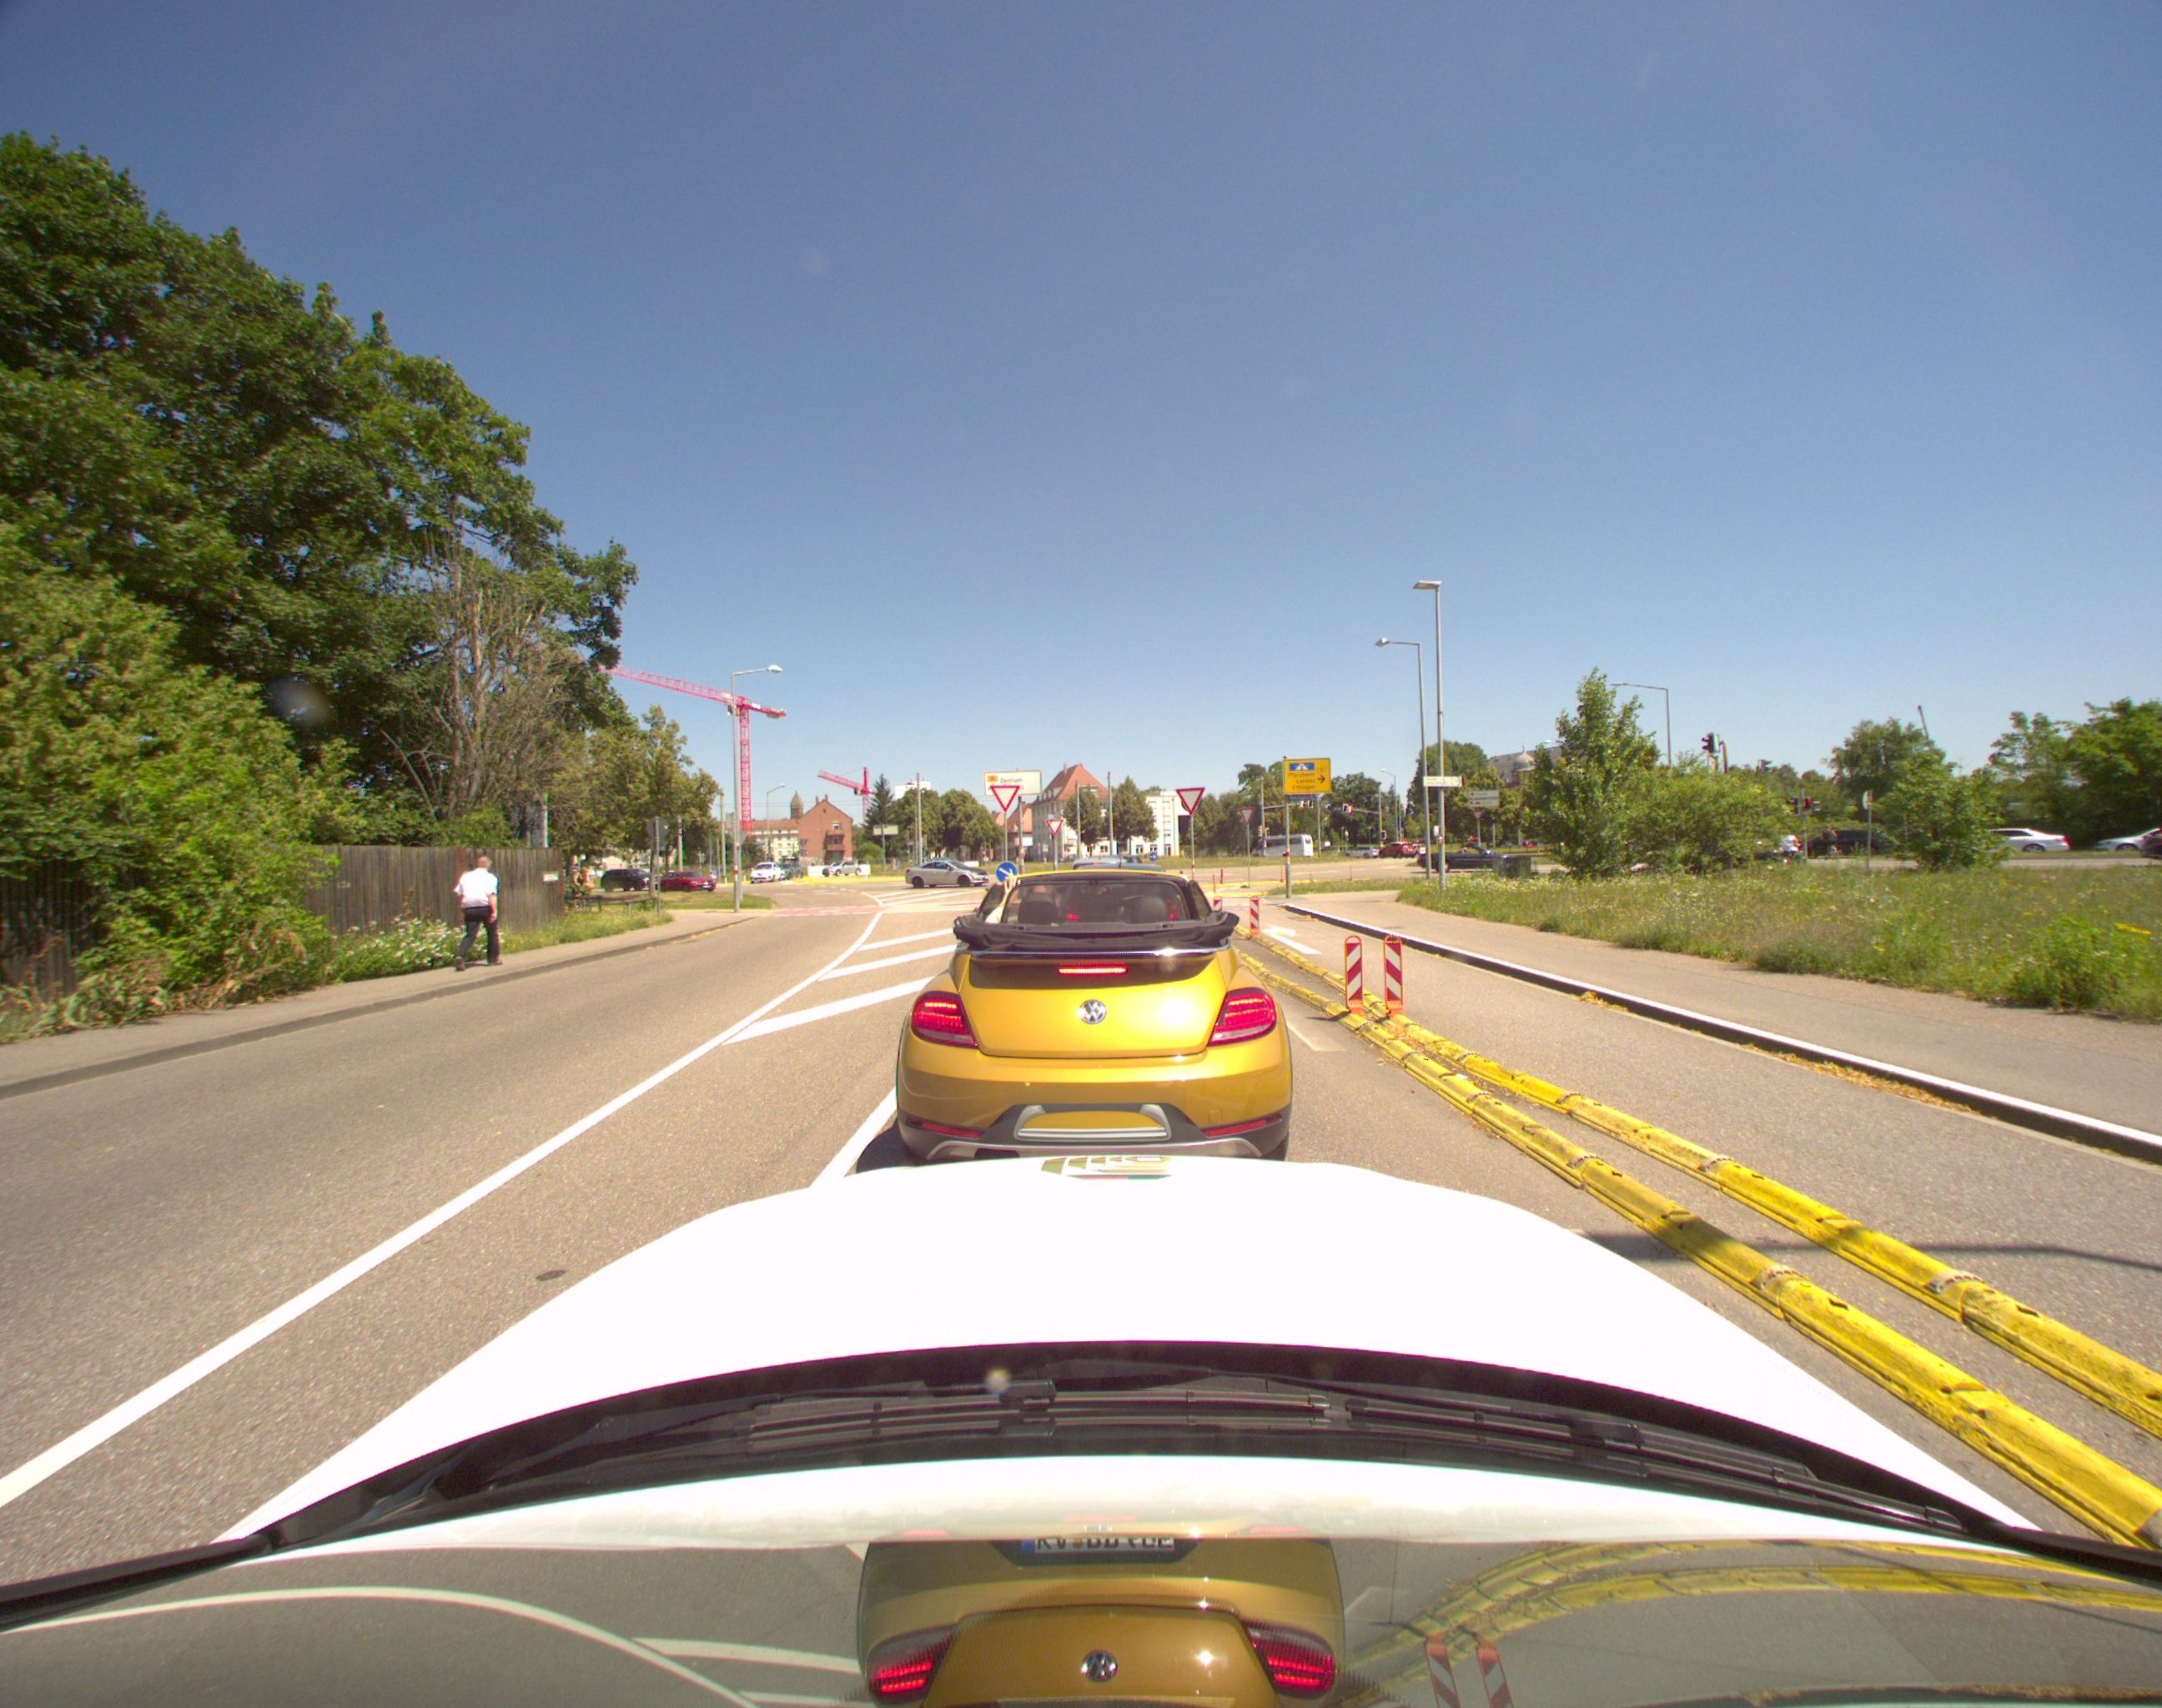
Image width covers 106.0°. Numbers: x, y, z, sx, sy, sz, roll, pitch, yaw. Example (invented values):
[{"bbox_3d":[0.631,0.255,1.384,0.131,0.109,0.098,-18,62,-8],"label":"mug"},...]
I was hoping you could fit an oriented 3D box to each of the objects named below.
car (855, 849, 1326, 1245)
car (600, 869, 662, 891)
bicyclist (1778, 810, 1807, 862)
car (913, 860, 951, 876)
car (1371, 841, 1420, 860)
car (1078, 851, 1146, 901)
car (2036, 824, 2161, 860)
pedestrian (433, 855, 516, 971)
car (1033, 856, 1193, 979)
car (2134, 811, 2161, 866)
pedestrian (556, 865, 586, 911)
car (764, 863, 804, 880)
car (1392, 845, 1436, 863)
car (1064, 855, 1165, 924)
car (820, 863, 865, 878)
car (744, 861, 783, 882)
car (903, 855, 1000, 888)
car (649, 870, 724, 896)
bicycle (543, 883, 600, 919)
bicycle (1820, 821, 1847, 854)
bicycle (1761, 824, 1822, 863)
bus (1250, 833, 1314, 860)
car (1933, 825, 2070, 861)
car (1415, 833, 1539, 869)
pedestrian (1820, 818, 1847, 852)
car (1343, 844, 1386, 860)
[{"bbox_3d":[0.098,0.744,5.192,1.758,1.481,4.259,0,-1,2],"label":"car"},{"bbox_3d":[-33.619,1.939,60.796,4.363,1.595,2.012,-1,-1,29],"label":"car"},{"bbox_3d":[25.761,-0.647,29.495,0.573,1.841,0.603,0,-1,-29],"label":"bicyclist"},{"bbox_3d":[-17.146,1.553,93.770,4.020,1.772,1.854,0,-1,-40],"label":"car"},{"bbox_3d":[30.548,-0.315,79.262,1.851,1.736,4.409,0,-1,-24],"label":"car"},{"bbox_3d":[1.042,0.672,27.710,2.057,1.481,4.545,-2,0,2],"label":"car"},{"bbox_3d":[51.356,-0.563,40.757,4.389,1.736,1.860,-1,-1,43],"label":"car"},{"bbox_3d":[-9.742,0.921,13.111,0.634,1.786,0.968,0,-1,-4],"label":"pedestrian"},{"bbox_3d":[0.449,0.764,11.791,1.844,1.366,4.260,-2,0,2],"label":"car"},{"bbox_3d":[39.811,-0.562,27.670,4.585,1.937,2.012,-1,-1,41],"label":"car"},{"bbox_3d":[-18.752,1.238,29.951,0.728,1.691,0.577,-1,-1,11],"label":"pedestrian"},{"bbox_3d":[-25.333,1.494,69.674,1.740,1.371,4.332,0,0,1],"label":"car"},{"bbox_3d":[34.245,0.043,83.815,1.792,1.772,3.960,0,-1,-31],"label":"car"},{"bbox_3d":[0.748,0.744,18.724,2.057,1.382,4.259,0,0,2],"label":"car"},{"bbox_3d":[-23.142,1.555,79.151,1.711,1.402,4.297,-1,-1,29],"label":"car"},{"bbox_3d":[-24.816,1.343,63.731,1.773,1.527,3.866,-2,0,-5],"label":"car"},{"bbox_3d":[-6.583,0.886,41.558,4.371,1.527,2.009,-2,0,16],"label":"car"},{"bbox_3d":[-24.641,1.792,50.850,4.363,1.527,2.012,-1,-1,29],"label":"car"},{"bbox_3d":[-18.734,1.717,29.946,1.830,1.231,0.615,-3,-1,12],"label":"bicycle"},{"bbox_3d":[38.006,-0.822,41.136,0.972,1.597,2.900,-1,-1,43],"label":"bicycle"},{"bbox_3d":[25.756,-0.371,29.492,2.902,1.353,0.635,0,-1,-28],"label":"bicycle"},{"bbox_3d":[23.819,-0.843,96.767,7.183,3.172,2.275,-1,-1,40],"label":"bus"},{"bbox_3d":[46.428,-0.523,41.238,4.389,1.736,1.860,-1,-1,43],"label":"car"},{"bbox_3d":[19.607,-0.122,40.610,5.273,1.736,2.008,-1,-1,16],"label":"car"},{"bbox_3d":[37.907,-0.951,41.027,0.959,1.660,0.892,-1,-1,44],"label":"pedestrian"},{"bbox_3d":[33.224,-0.204,95.467,1.858,1.736,4.392,0,-1,-40],"label":"car"}]
